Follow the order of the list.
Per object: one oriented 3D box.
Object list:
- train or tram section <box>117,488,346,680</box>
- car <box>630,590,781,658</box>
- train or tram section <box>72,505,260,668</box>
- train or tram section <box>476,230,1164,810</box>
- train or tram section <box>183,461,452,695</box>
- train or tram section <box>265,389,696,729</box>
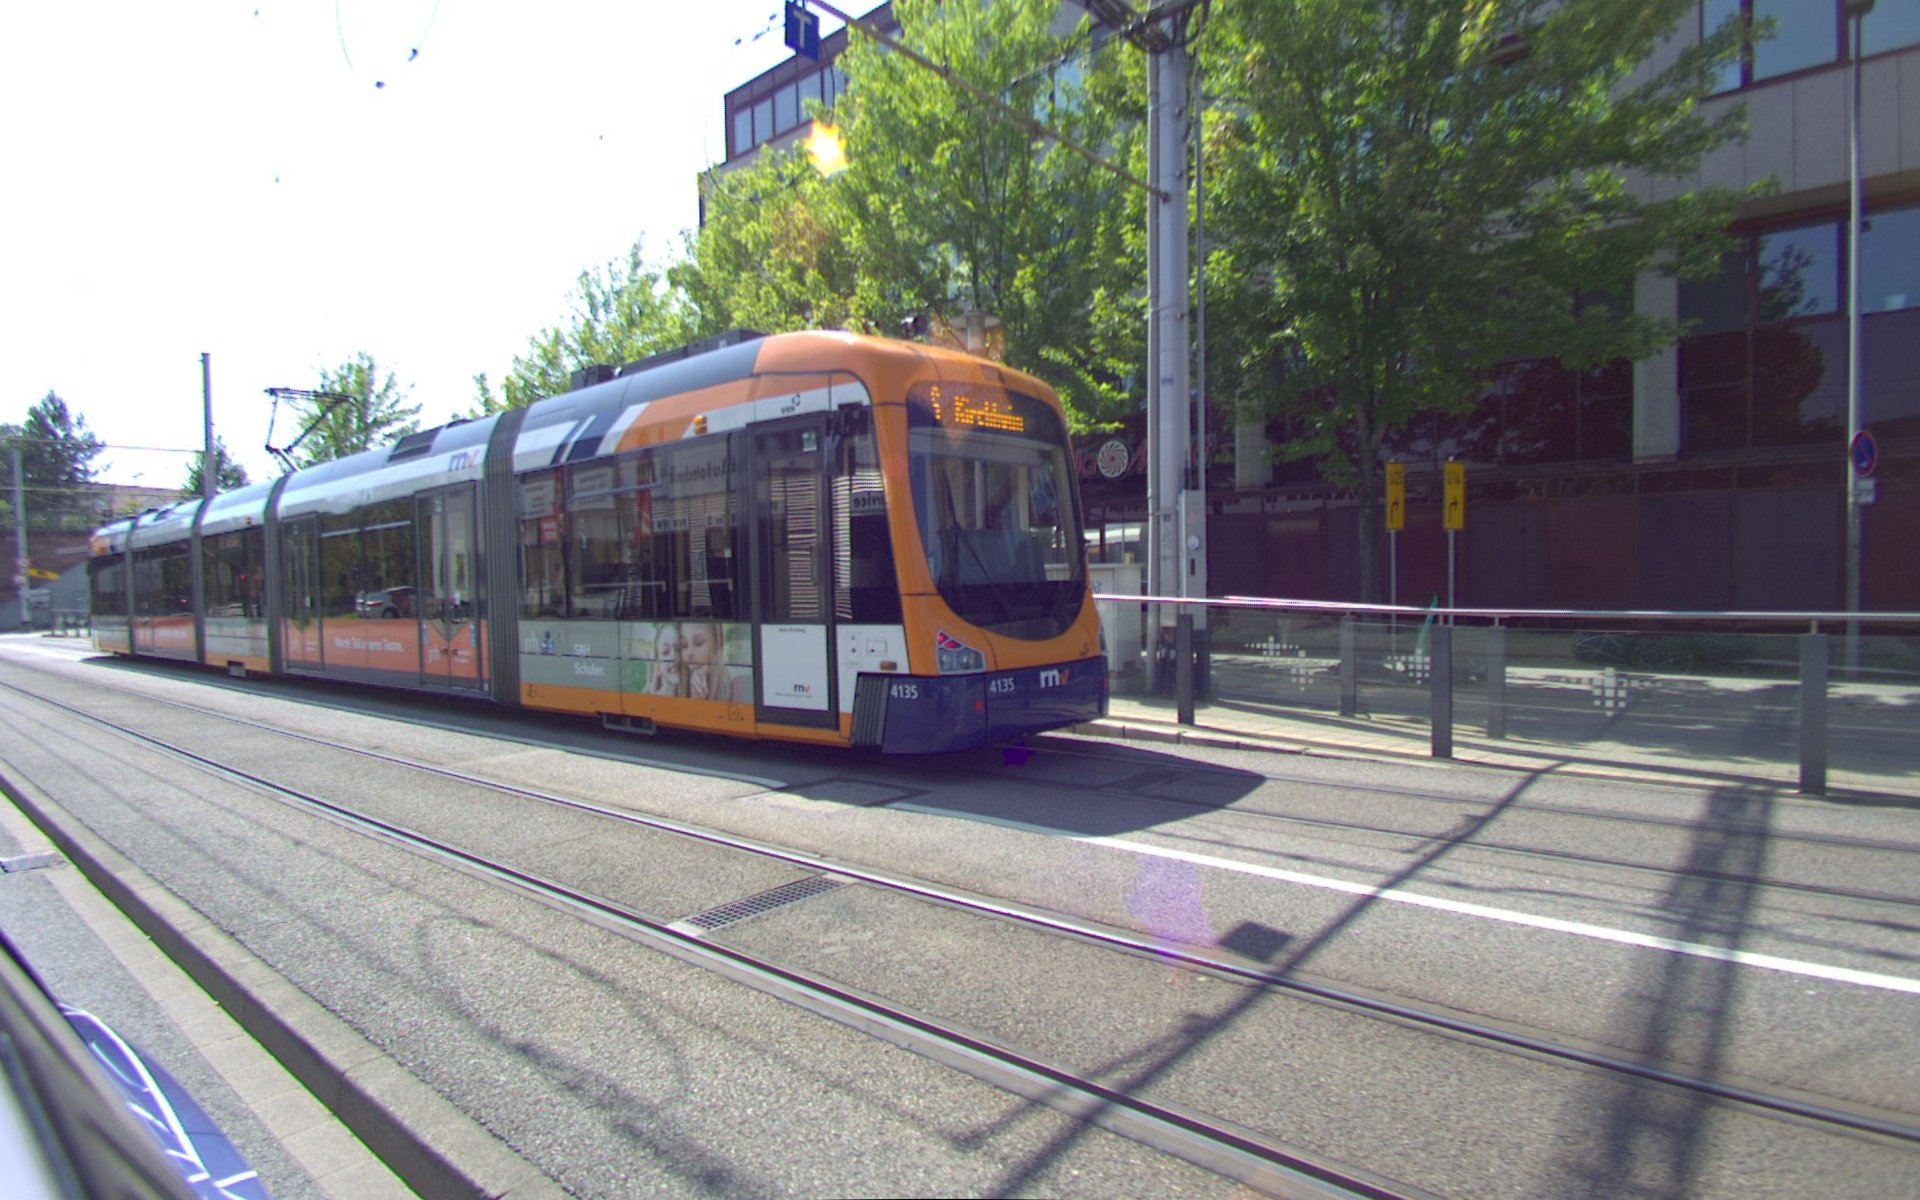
[{"bbox_3d":[-15.395,-0.274,21.252,5.840,3.473,2.584,-1,0,41],"label":"train or tram section"},{"bbox_3d":[-6.357,0.575,25.083,3.903,1.474,1.704,-1,2,42],"label":"car"},{"bbox_3d":[-19.759,-0.284,25.073,5.739,3.559,2.584,-1,0,41],"label":"train or tram section"},{"bbox_3d":[-1.637,-0.463,9.128,6.359,3.473,2.554,-1,0,41],"label":"train or tram section"},{"bbox_3d":[-11.303,-0.318,17.669,5.008,3.473,2.584,-1,0,41],"label":"train or tram section"},{"bbox_3d":[-6.748,-0.398,13.631,7.133,3.473,2.553,-1,0,41],"label":"train or tram section"}]
